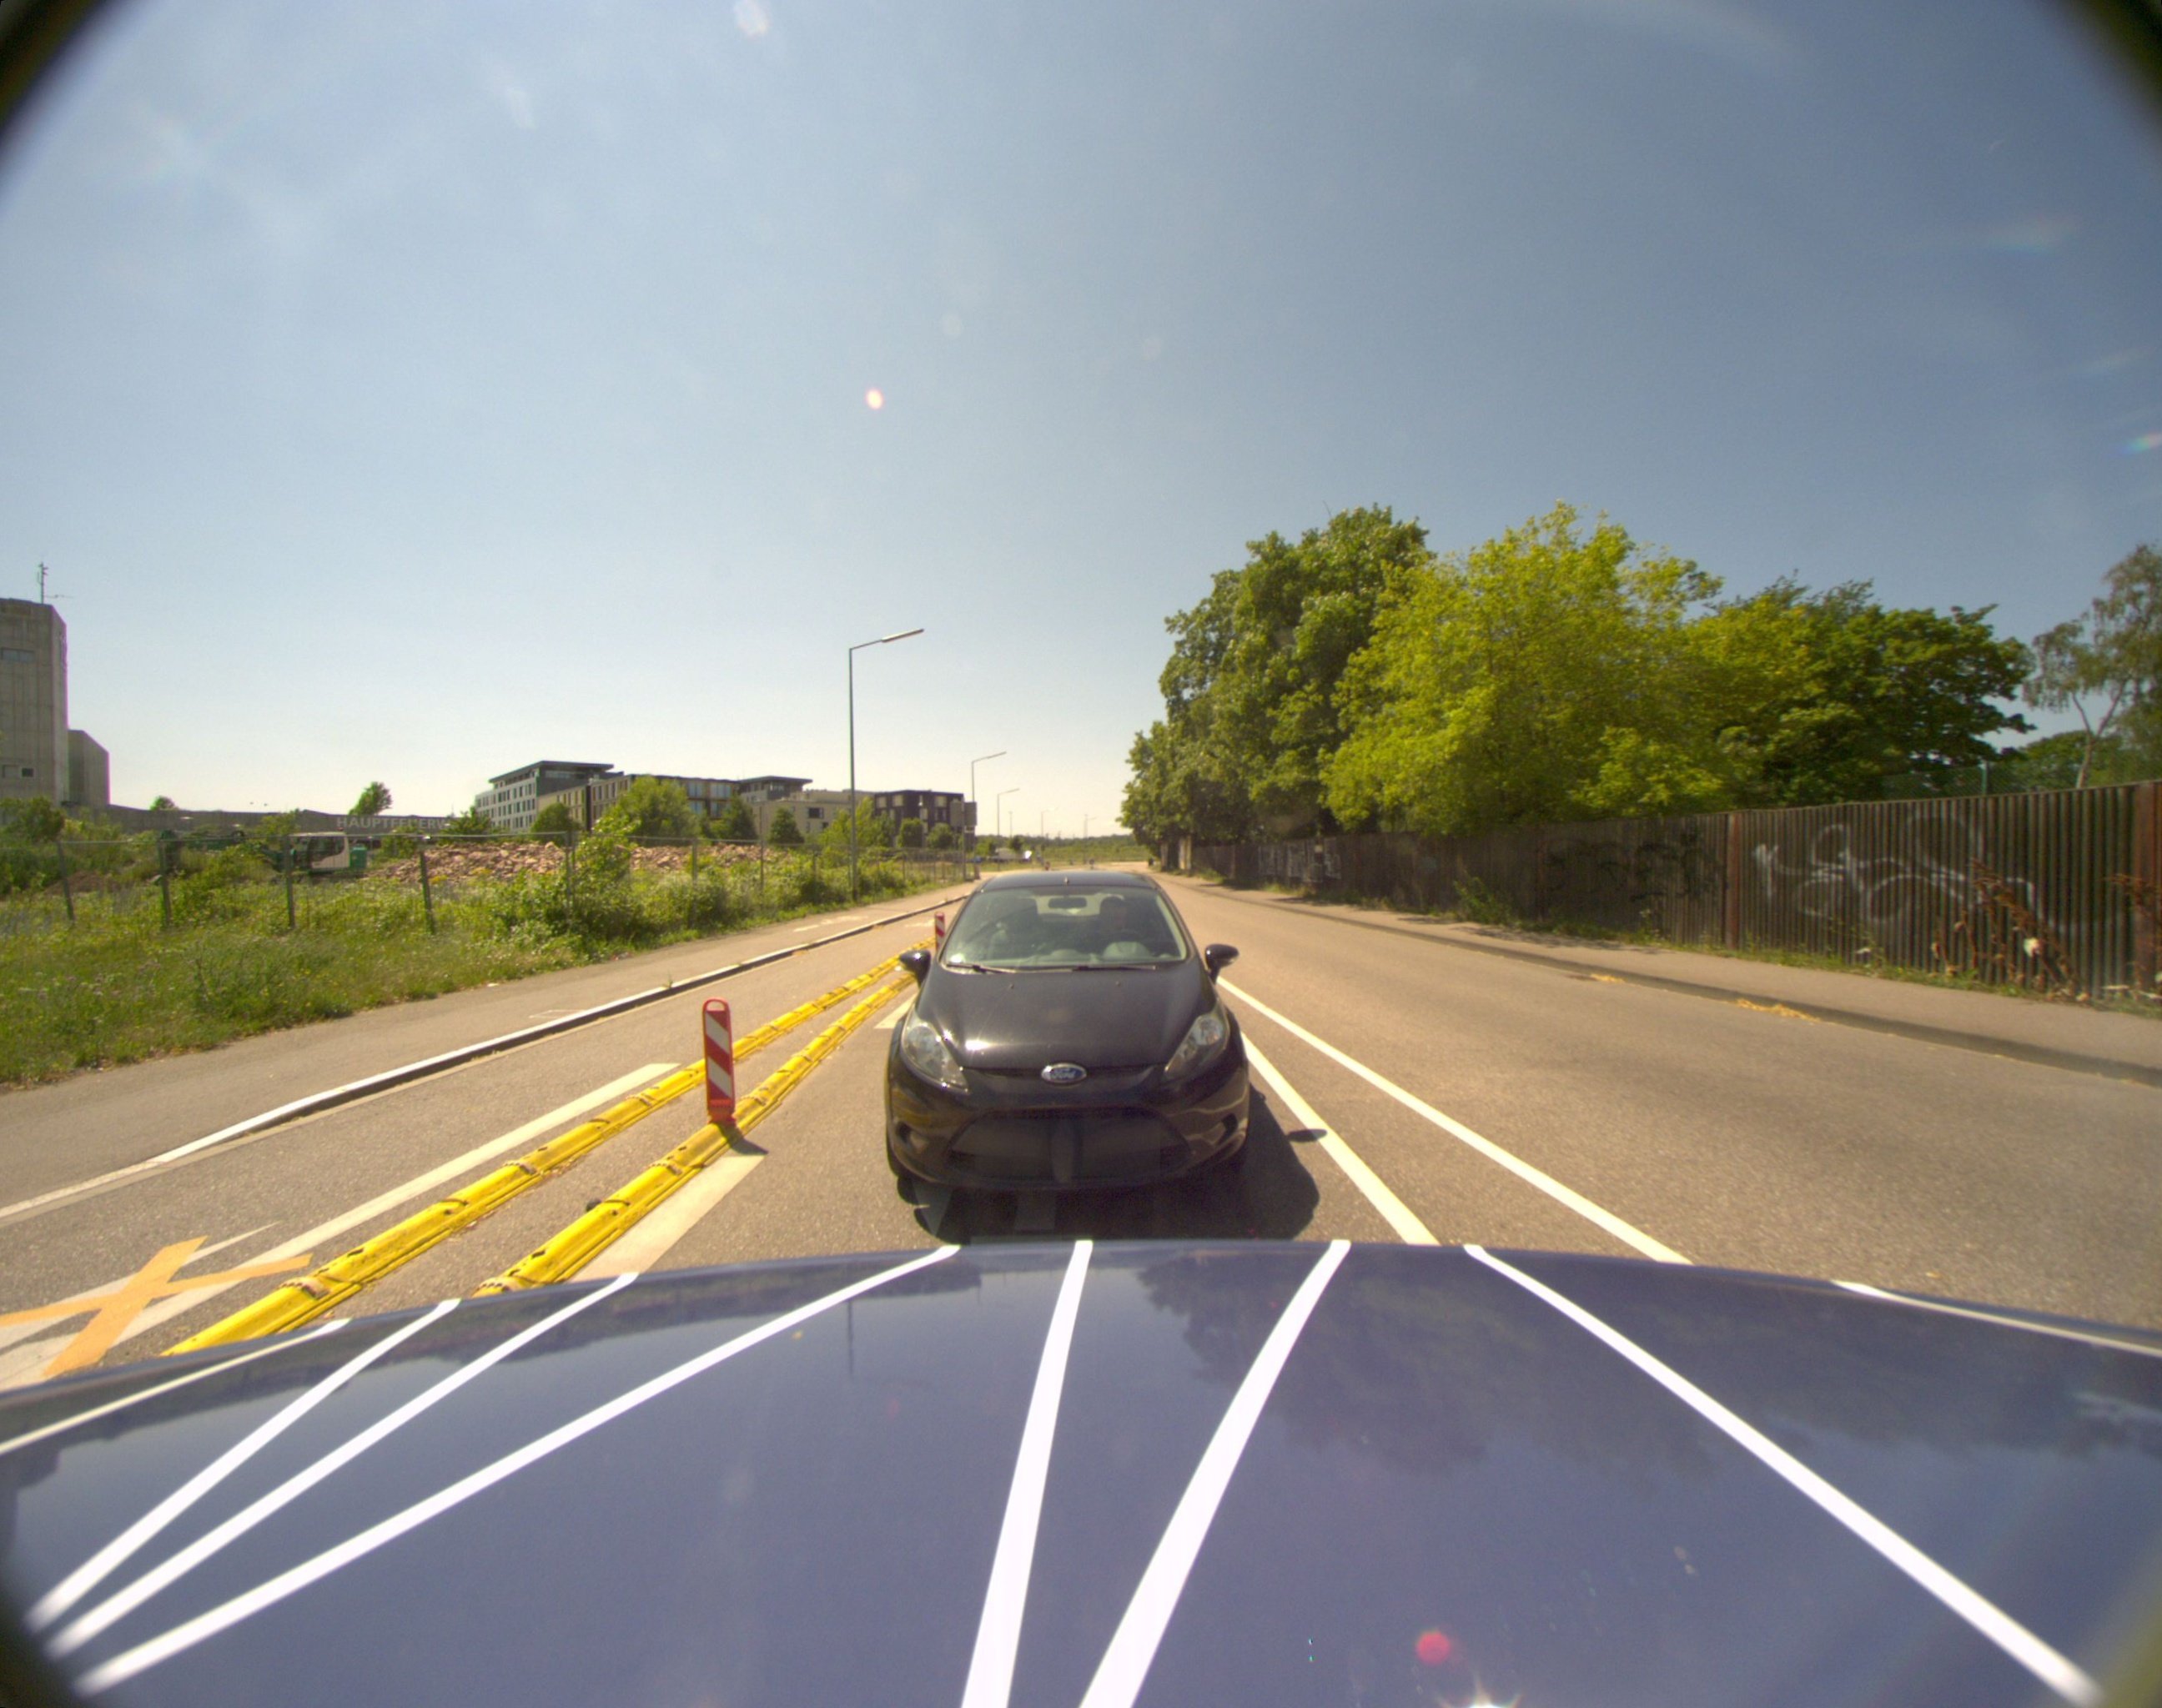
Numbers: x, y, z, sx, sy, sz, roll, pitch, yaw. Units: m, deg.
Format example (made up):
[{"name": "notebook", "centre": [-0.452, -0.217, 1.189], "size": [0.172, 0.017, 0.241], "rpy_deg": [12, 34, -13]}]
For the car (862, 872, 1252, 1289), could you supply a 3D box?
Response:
[{"name": "car", "centre": [-0.069, 0.974, 5.086], "size": [1.528, 1.510, 3.999], "rpy_deg": [-2, 1, 1]}]

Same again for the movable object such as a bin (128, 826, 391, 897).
[{"name": "movable object such as a bin", "centre": [-38.335, 0.251, 35.987], "size": [3.231, 2.899, 7.702], "rpy_deg": [-2, 1, 15]}]
